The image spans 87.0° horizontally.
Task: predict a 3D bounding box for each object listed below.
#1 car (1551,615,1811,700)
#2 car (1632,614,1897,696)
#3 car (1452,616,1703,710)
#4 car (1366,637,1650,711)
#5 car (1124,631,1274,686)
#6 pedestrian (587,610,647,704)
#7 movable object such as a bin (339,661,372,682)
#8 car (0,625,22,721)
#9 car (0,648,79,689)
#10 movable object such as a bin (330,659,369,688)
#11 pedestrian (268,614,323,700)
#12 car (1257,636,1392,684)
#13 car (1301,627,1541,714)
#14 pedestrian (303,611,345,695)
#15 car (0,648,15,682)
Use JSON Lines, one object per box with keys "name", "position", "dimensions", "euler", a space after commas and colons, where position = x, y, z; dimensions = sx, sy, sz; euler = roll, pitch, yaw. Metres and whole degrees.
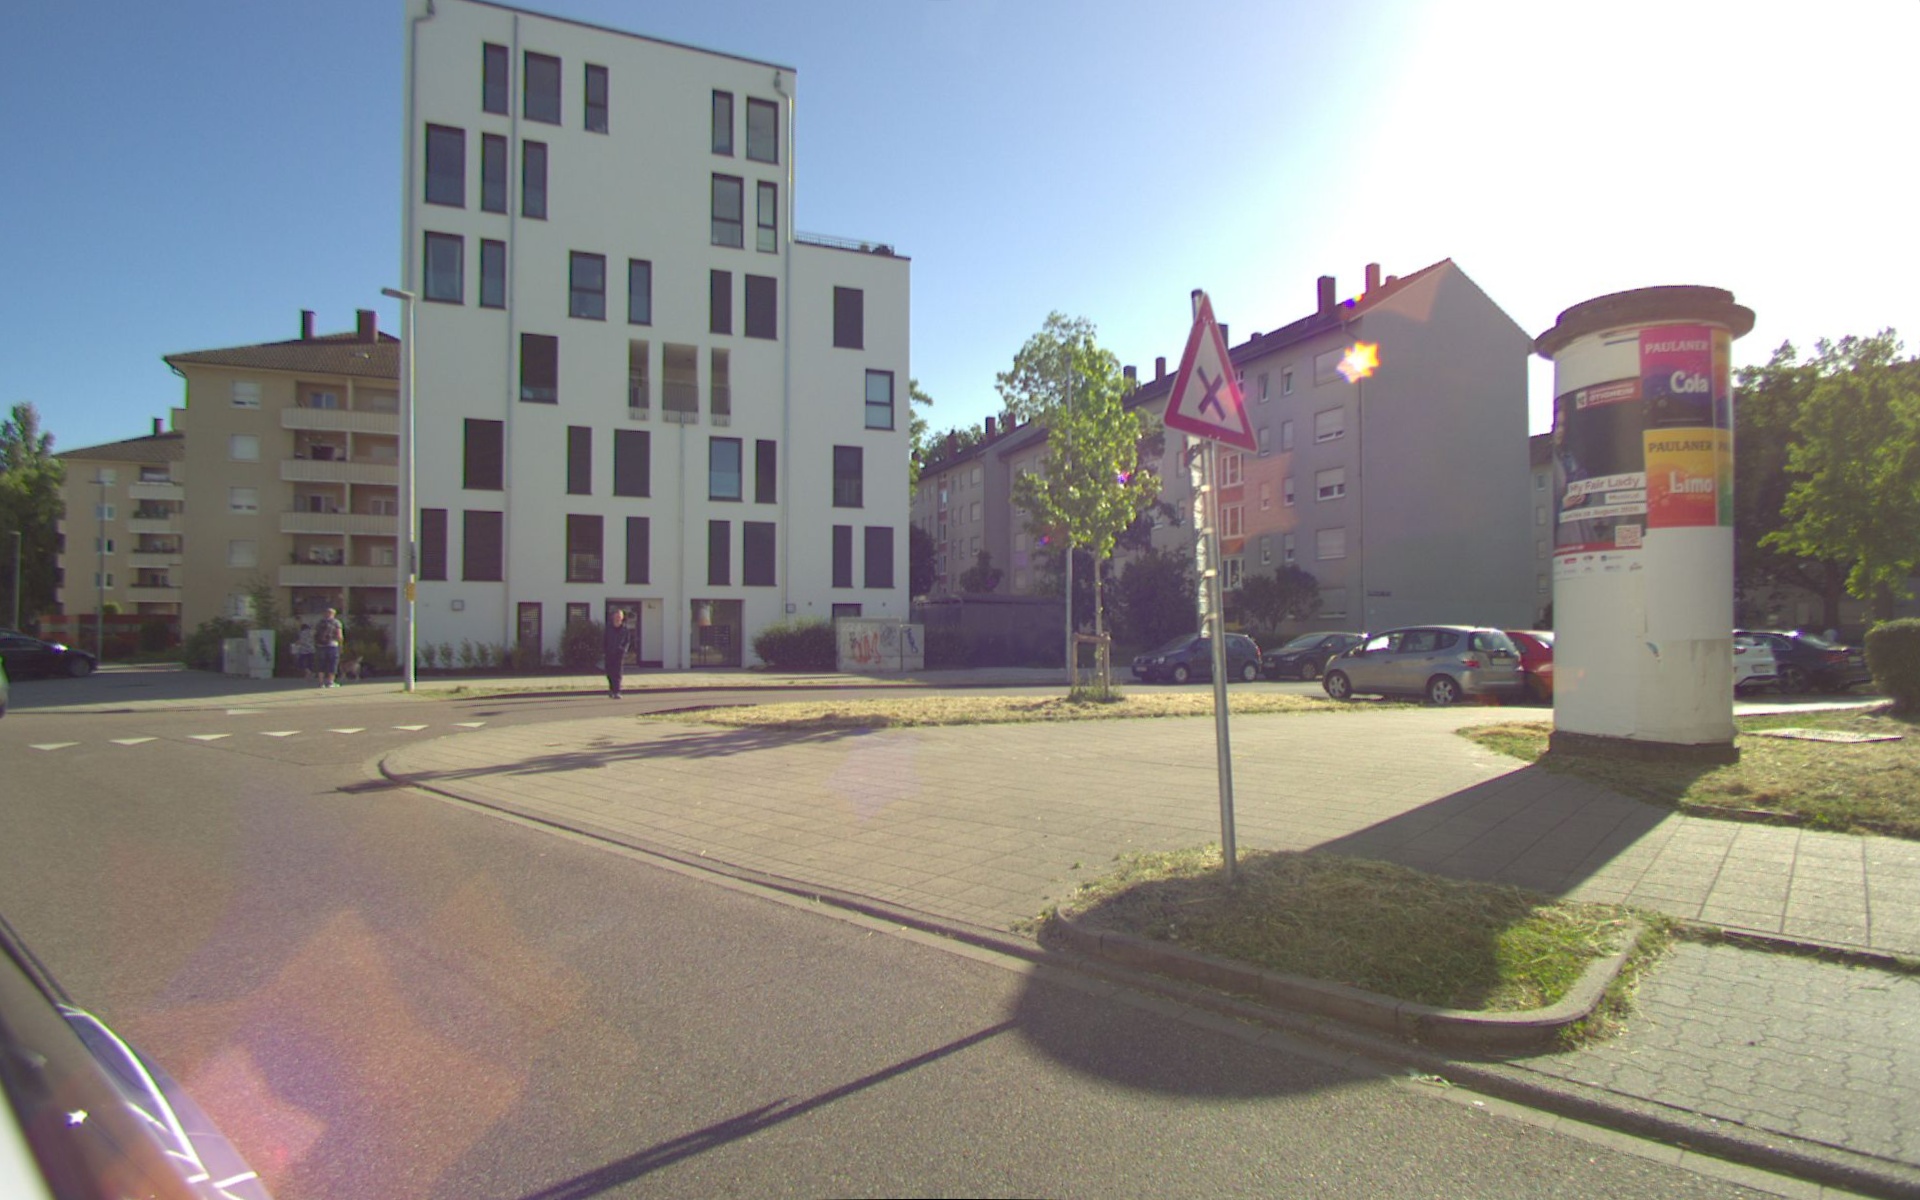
{"name": "car", "position": [16.047, 1.301, 22.803], "dimensions": [1.965, 1.712, 4.306], "euler": [1, -4, -25]}
{"name": "car", "position": [18.399, 1.283, 23.399], "dimensions": [1.965, 1.712, 4.306], "euler": [1, -4, -25]}
{"name": "car", "position": [13.360, 1.293, 22.197], "dimensions": [1.965, 1.778, 4.307], "euler": [1, -1, -25]}
{"name": "car", "position": [10.739, 1.420, 20.311], "dimensions": [1.699, 1.284, 4.901], "euler": [2, -3, -27]}
{"name": "car", "position": [6.800, 1.650, 28.773], "dimensions": [3.930, 1.431, 1.678], "euler": [1, -1, -25]}
{"name": "pedestrian", "position": [-6.534, 1.068, 19.275], "dimensions": [0.962, 1.727, 0.876], "euler": [1, -3, -26]}
{"name": "movable object such as a bin", "position": [-15.963, 1.892, 26.725], "dimensions": [0.676, 0.546, 0.272], "euler": [1, -2, -2]}
{"name": "car", "position": [-17.293, 1.155, 16.523], "dimensions": [4.123, 1.515, 1.823], "euler": [0, -1, 31]}
{"name": "car", "position": [-30.178, 2.133, 31.001], "dimensions": [1.980, 1.176, 4.546], "euler": [-1, -1, 12]}
{"name": "movable object such as a bin", "position": [-15.068, 1.801, 24.979], "dimensions": [0.839, 0.685, 0.272], "euler": [1, -2, 8]}
{"name": "pedestrian", "position": [-16.956, 1.444, 25.839], "dimensions": [0.951, 2.137, 0.770], "euler": [-2, -2, 21]}
{"name": "car", "position": [11.064, 1.791, 30.690], "dimensions": [3.930, 1.386, 1.415], "euler": [1, -3, -23]}
{"name": "car", "position": [8.809, 1.285, 19.739], "dimensions": [1.698, 1.503, 4.115], "euler": [1, -2, -26]}
{"name": "pedestrian", "position": [-14.796, 1.221, 23.541], "dimensions": [0.778, 1.899, 0.849], "euler": [2, -1, -33]}
{"name": "car", "position": [-42.008, 2.735, 41.736], "dimensions": [1.983, 1.412, 3.977], "euler": [1, -1, 17]}
